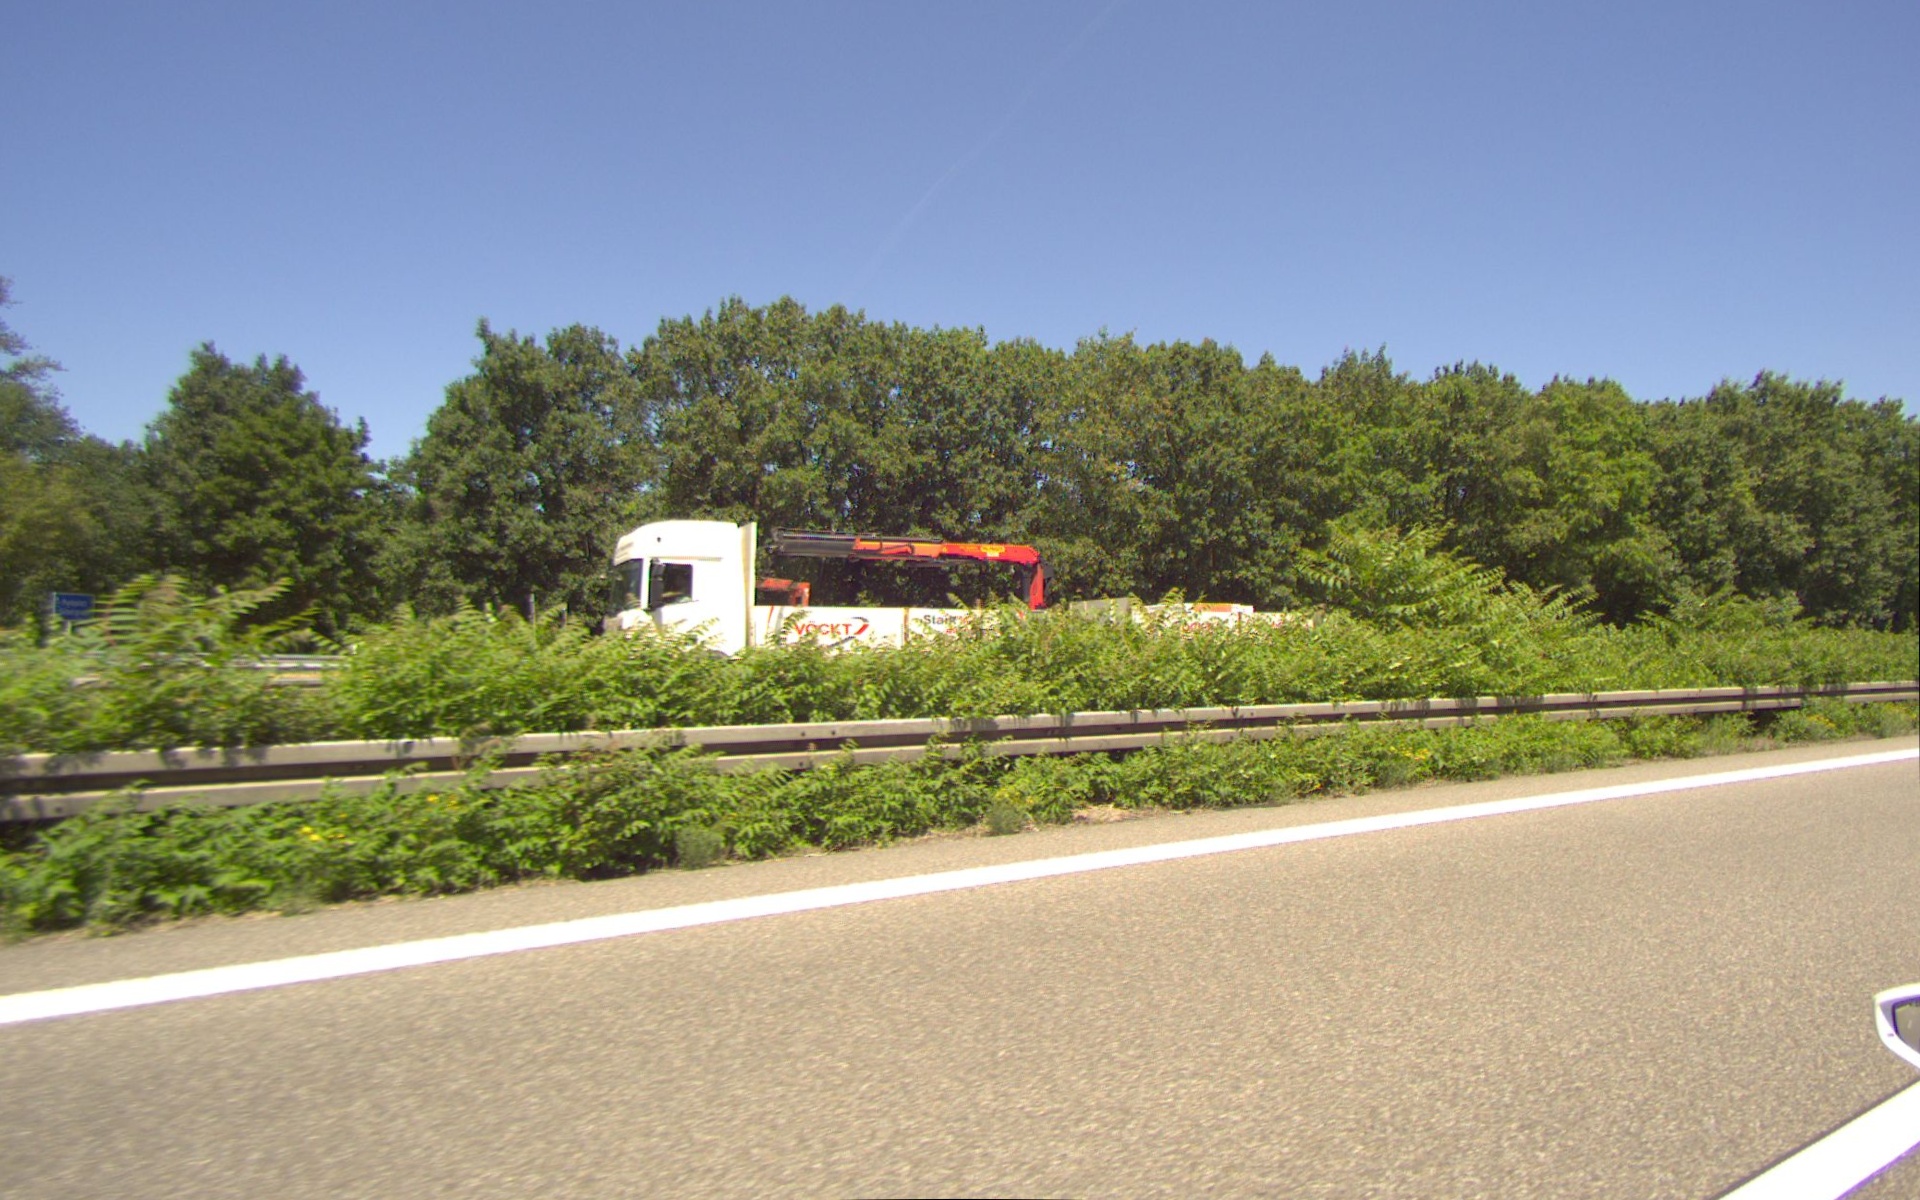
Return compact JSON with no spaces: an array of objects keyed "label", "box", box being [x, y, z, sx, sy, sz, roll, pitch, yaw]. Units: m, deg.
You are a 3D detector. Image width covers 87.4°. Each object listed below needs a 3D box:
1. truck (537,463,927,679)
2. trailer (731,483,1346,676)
[{"label":"truck","box":[-4.477,-0.405,20.041,6.914,3.627,3.182,2,0,-30]},{"label":"trailer","box":[2.695,-0.168,24.257,15.781,3.627,3.182,2,0,-30]}]
